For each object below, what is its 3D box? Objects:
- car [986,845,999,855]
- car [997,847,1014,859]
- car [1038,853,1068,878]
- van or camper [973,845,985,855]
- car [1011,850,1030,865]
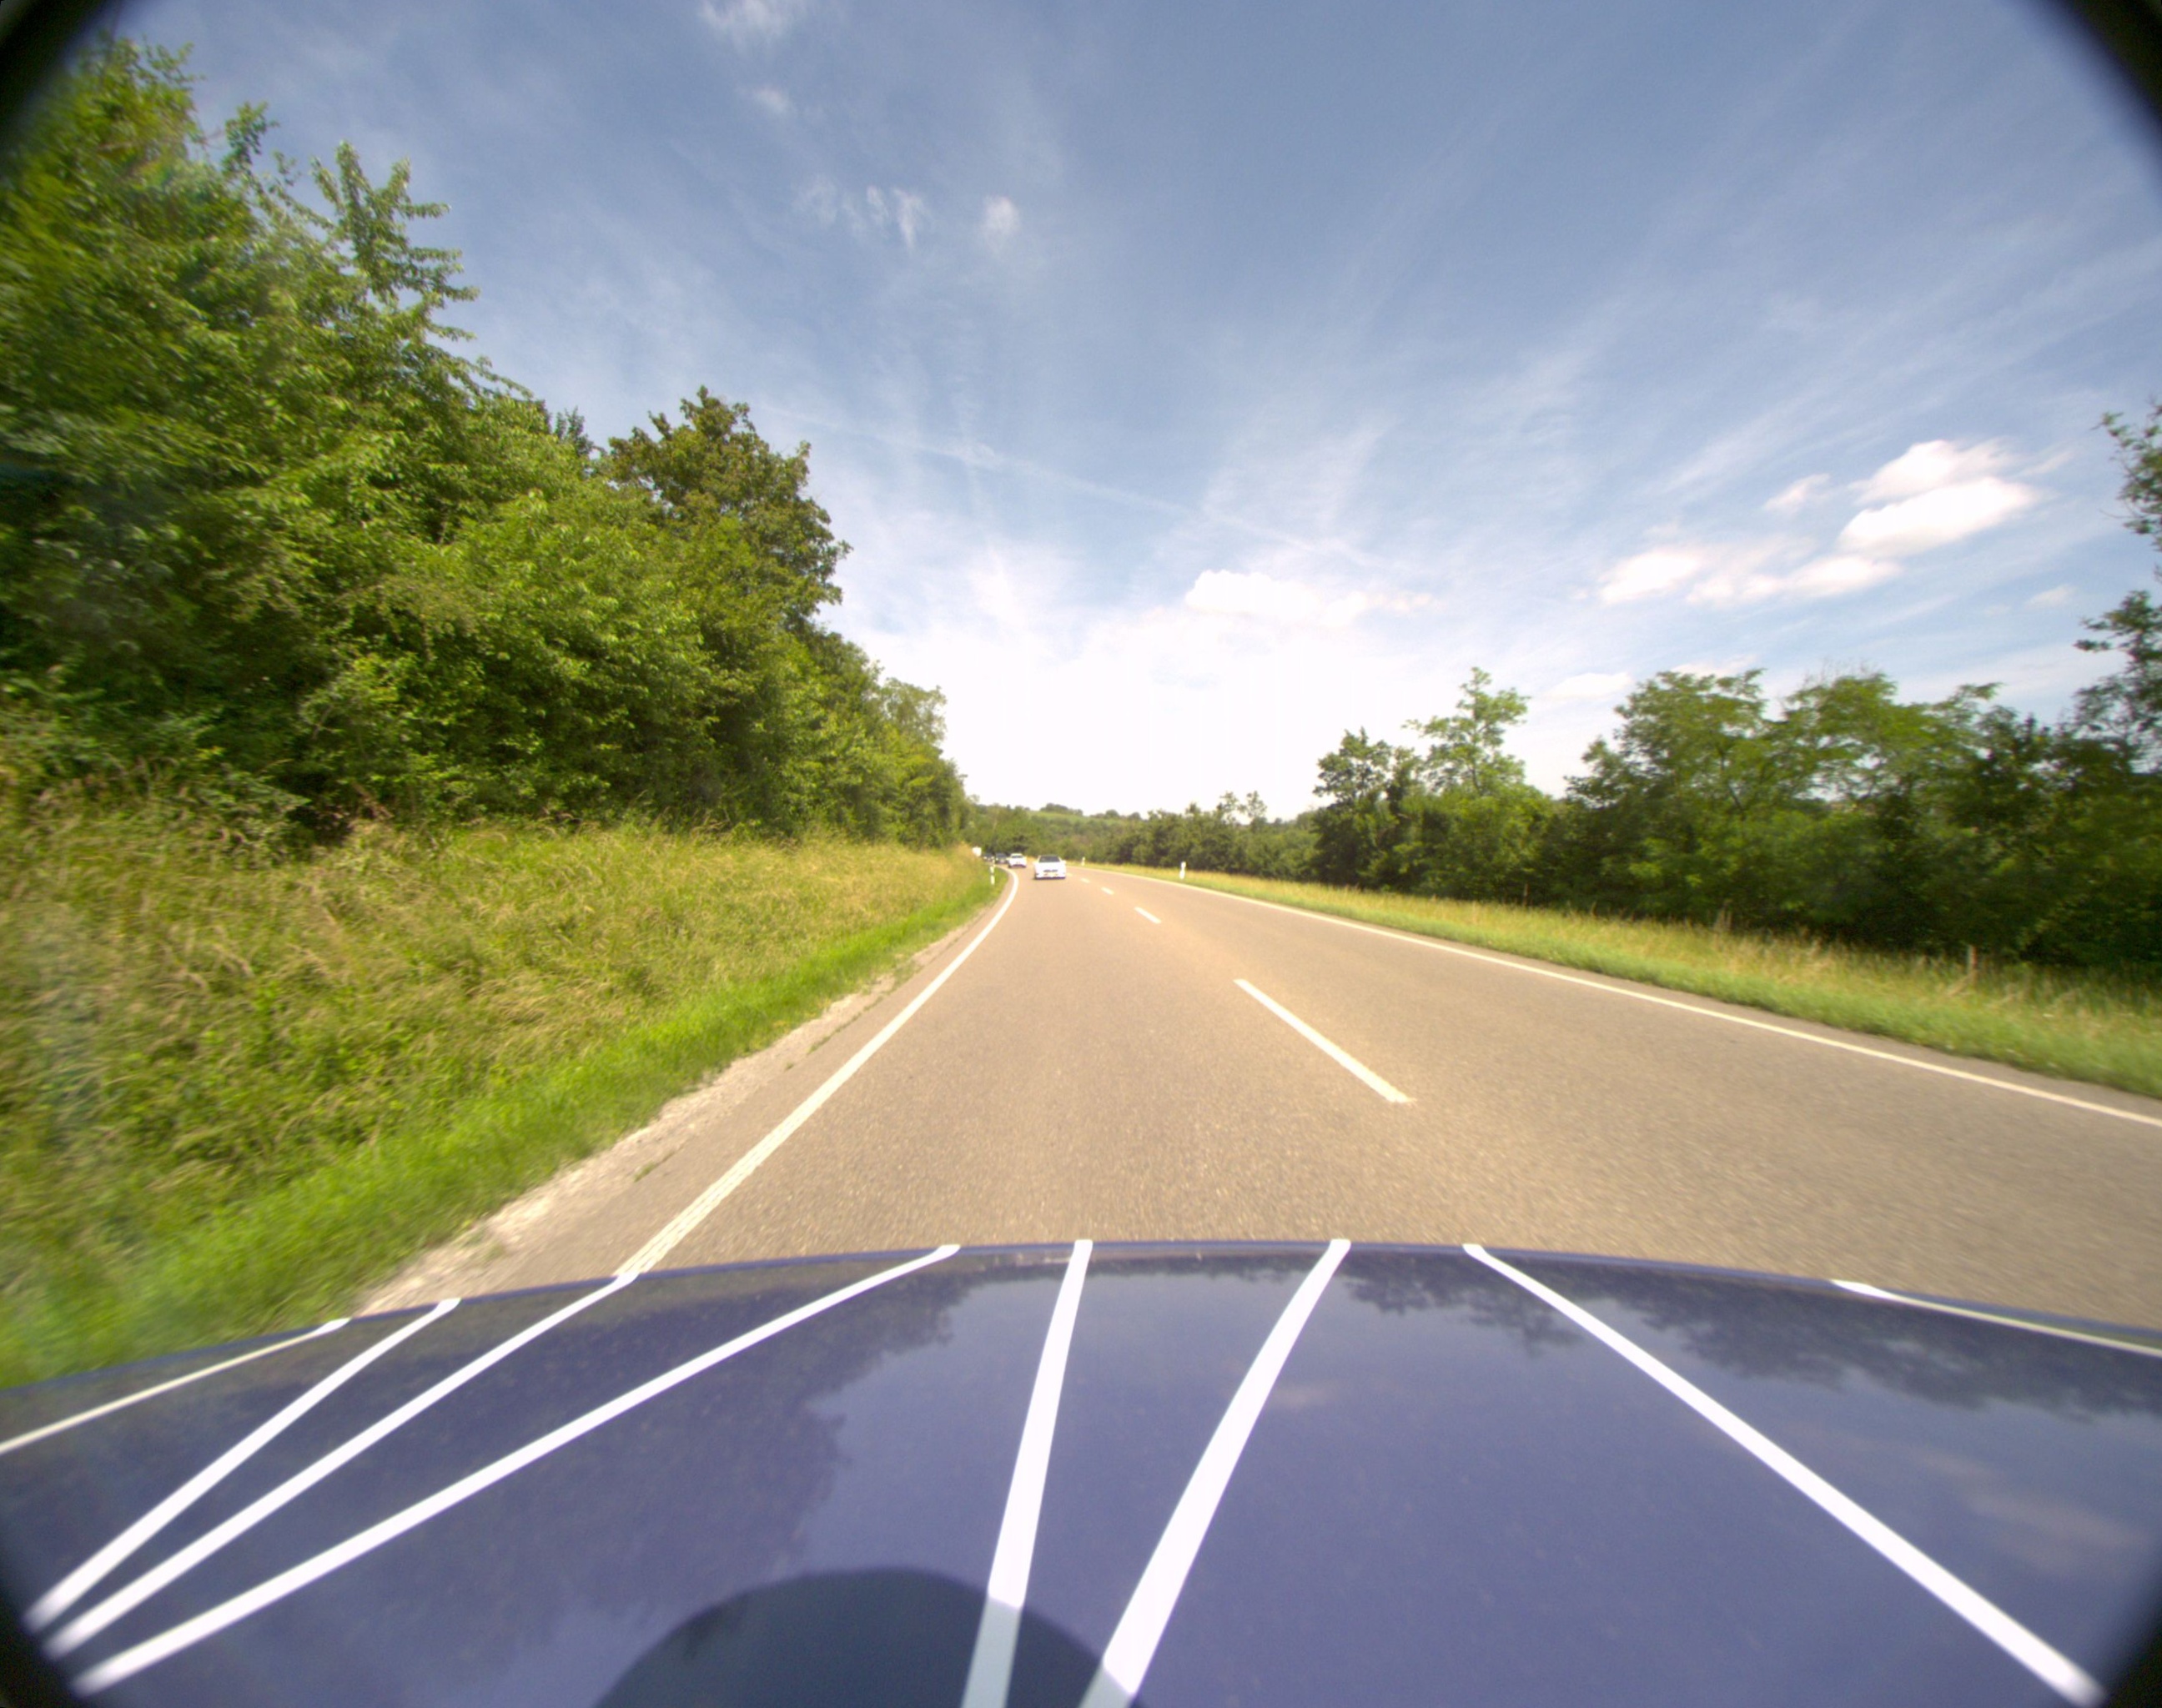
[{"bbox_3d":[-15.039,-0.697,128.648,1.667,1.641,3.995,3,0,-12],"label":"car"},{"bbox_3d":[-10.727,-0.174,108.022,1.827,1.510,3.995,3,0,-12],"label":"car"},{"bbox_3d":[-1.750,0.660,46.786,1.773,1.437,3.998,-2,0,-3],"label":"car"},{"bbox_3d":[-25.741,-0.988,191.354,2.216,2.513,6.125,-1,1,-14],"label":"van or camper"},{"bbox_3d":[-6.571,0.385,82.377,1.867,1.480,3.997,-2,1,-7],"label":"car"}]
